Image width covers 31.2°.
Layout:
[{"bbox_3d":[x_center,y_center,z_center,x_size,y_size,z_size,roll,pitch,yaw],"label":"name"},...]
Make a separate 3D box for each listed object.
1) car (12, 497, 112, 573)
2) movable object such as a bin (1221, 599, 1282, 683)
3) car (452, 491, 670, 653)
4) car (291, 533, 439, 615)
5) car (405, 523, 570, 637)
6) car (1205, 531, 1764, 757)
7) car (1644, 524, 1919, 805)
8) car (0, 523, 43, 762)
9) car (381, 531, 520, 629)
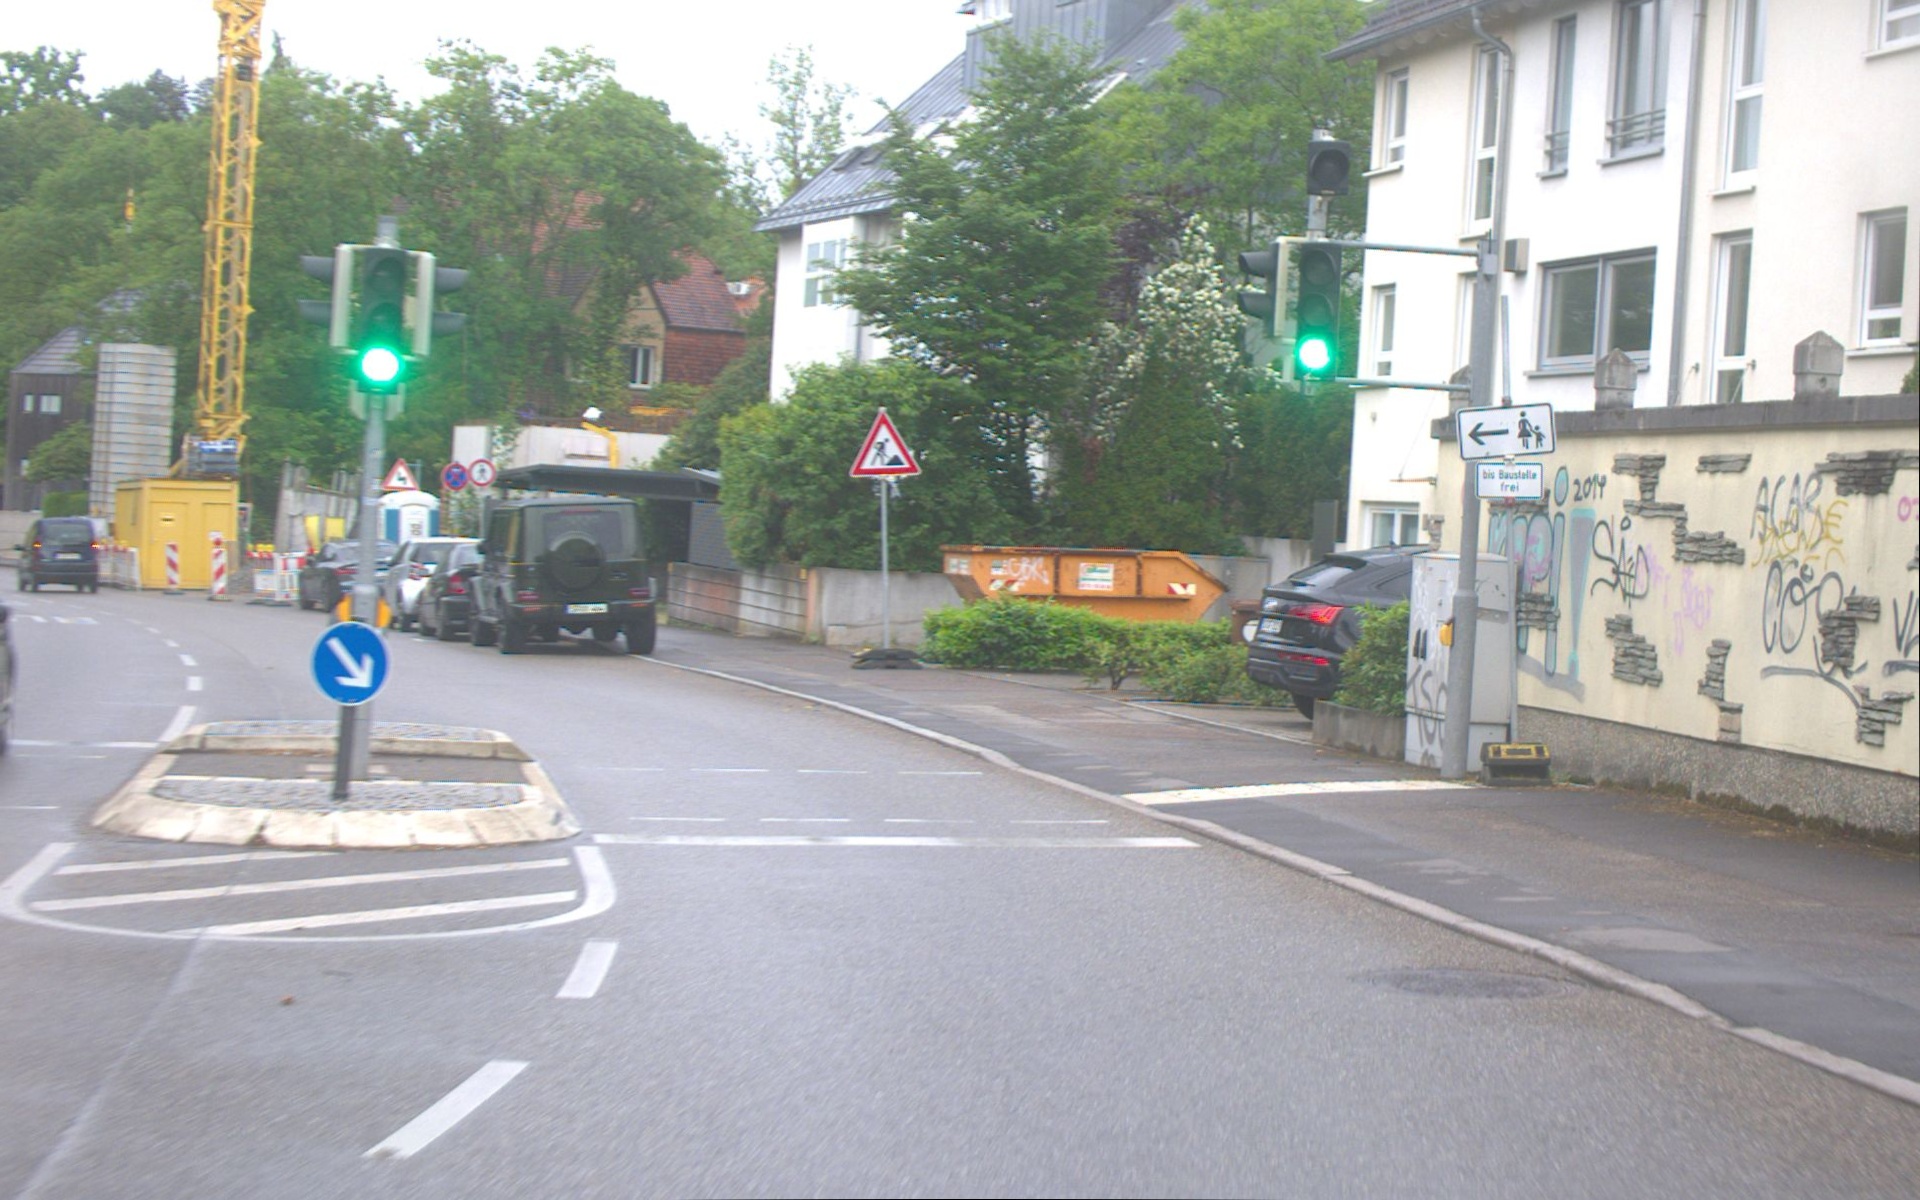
[{"bbox_3d":[-22.276,-1.637,85.184,1.931,1.745,4.001,2,1,-20],"label":"car"},{"bbox_3d":[3.377,0.471,39.865,0.506,0.938,0.595,2,1,-15],"label":"movable object such as a bin"},{"bbox_3d":[-5.317,-0.395,45.256,1.993,2.007,4.958,0,1,-17],"label":"car"},{"bbox_3d":[-11.789,-0.531,67.873,1.931,1.417,4.839,2,1,-21],"label":"car"},{"bbox_3d":[-6.928,-0.316,50.077,1.931,1.590,4.396,0,1,-14],"label":"car"},{"bbox_3d":[4.591,0.376,30.318,4.326,1.590,1.993,5,0,-14],"label":"car"},{"bbox_3d":[6.074,0.421,20.898,1.931,1.590,4.343,5,0,-15],"label":"car"},{"bbox_3d":[-6.645,0.237,20.536,1.743,1.455,4.415,2,0,-9],"label":"car"},{"bbox_3d":[-8.029,-0.336,53.988,1.672,1.452,3.387,1,1,-17],"label":"car"}]
